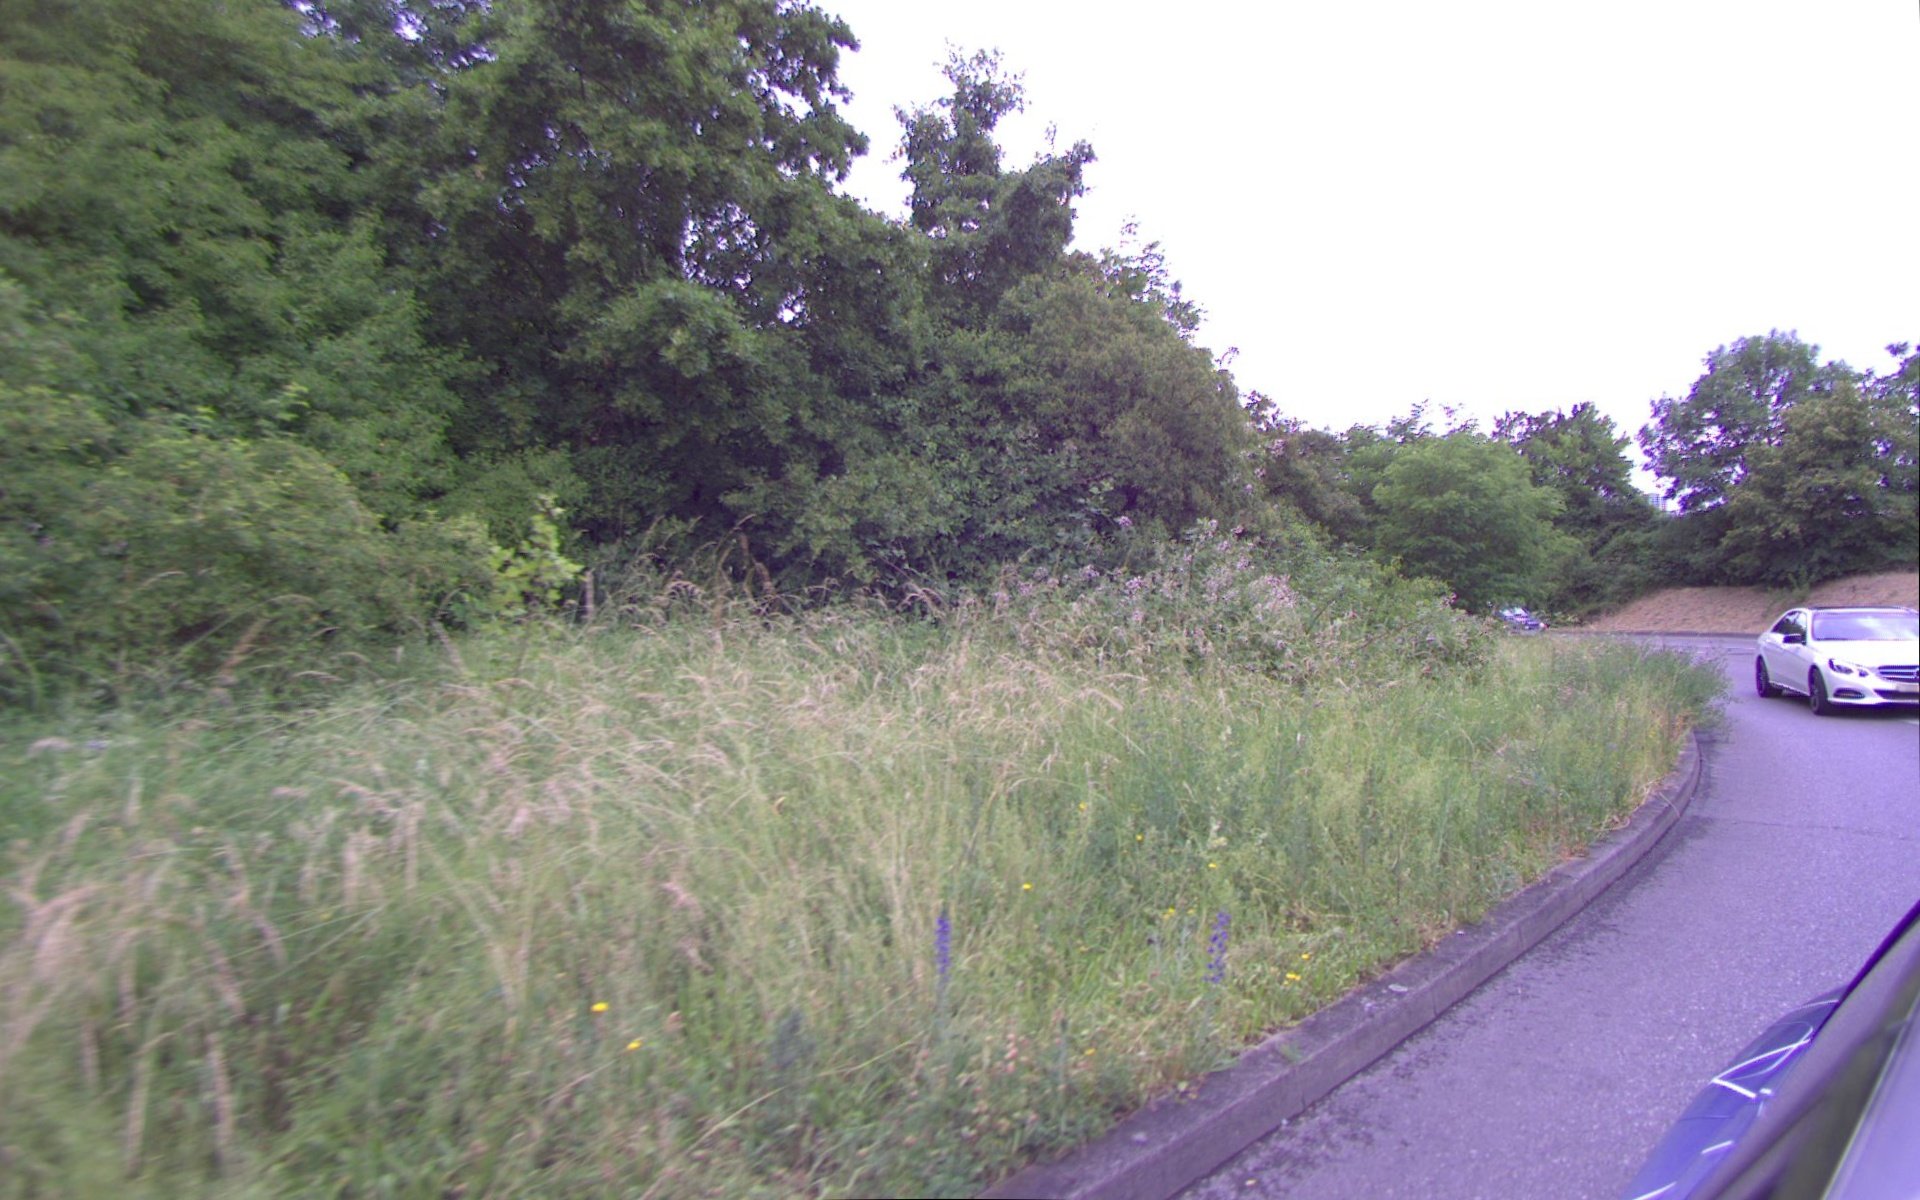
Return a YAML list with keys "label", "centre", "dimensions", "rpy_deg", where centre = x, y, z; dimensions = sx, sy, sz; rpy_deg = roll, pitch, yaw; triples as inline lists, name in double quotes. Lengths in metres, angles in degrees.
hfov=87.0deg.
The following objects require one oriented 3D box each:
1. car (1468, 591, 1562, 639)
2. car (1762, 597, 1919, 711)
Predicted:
- label: "car"
  centre: [19.108, 0.560, 35.020]
  dimensions: [1.796, 1.565, 3.711]
  rpy_deg: [0, -2, 12]
- label: "car"
  centre: [13.220, 0.694, 14.510]
  dimensions: [1.870, 1.441, 3.961]
  rpy_deg: [-3, -2, 27]
